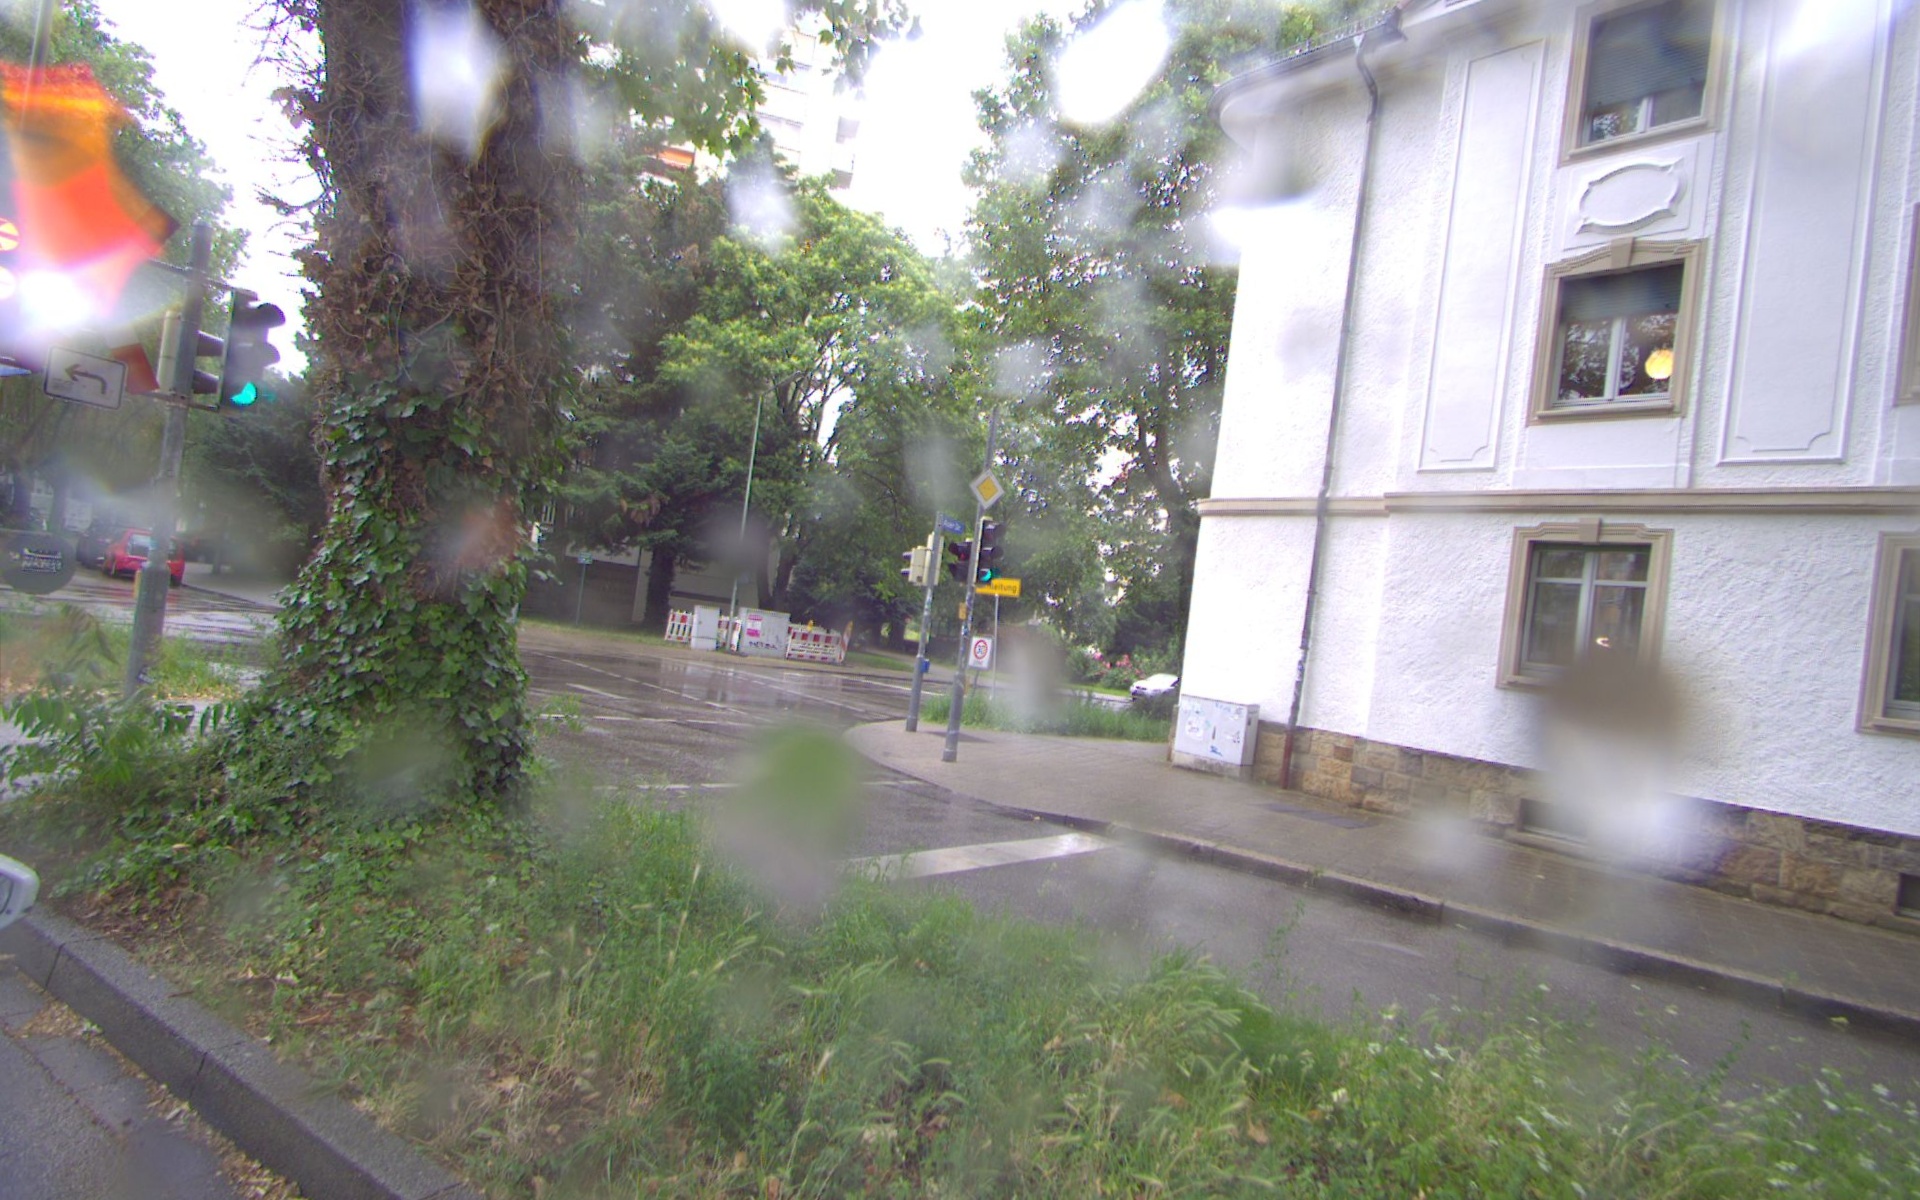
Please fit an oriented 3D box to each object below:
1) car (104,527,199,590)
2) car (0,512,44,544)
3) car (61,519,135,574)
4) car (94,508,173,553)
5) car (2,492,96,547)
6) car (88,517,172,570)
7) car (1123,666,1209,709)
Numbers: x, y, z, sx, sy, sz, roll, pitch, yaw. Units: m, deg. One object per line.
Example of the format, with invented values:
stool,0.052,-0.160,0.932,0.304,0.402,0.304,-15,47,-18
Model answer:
car,-24.832,-1.303,30.855,1.788,1.515,3.950,10,-2,-44
car,-56.206,-4.368,58.640,1.974,1.565,3.980,6,-3,44
car,-32.984,-2.072,38.466,1.779,1.747,3.951,9,-2,-44
car,-69.651,-5.832,84.825,4.683,2.982,2.001,7,-1,1
car,-61.112,-5.382,67.544,4.680,2.982,2.043,7,-1,12
car,-28.098,-1.931,34.012,1.780,1.363,3.879,10,-2,-44
car,9.411,3.998,45.818,1.829,1.473,3.979,6,-3,45
